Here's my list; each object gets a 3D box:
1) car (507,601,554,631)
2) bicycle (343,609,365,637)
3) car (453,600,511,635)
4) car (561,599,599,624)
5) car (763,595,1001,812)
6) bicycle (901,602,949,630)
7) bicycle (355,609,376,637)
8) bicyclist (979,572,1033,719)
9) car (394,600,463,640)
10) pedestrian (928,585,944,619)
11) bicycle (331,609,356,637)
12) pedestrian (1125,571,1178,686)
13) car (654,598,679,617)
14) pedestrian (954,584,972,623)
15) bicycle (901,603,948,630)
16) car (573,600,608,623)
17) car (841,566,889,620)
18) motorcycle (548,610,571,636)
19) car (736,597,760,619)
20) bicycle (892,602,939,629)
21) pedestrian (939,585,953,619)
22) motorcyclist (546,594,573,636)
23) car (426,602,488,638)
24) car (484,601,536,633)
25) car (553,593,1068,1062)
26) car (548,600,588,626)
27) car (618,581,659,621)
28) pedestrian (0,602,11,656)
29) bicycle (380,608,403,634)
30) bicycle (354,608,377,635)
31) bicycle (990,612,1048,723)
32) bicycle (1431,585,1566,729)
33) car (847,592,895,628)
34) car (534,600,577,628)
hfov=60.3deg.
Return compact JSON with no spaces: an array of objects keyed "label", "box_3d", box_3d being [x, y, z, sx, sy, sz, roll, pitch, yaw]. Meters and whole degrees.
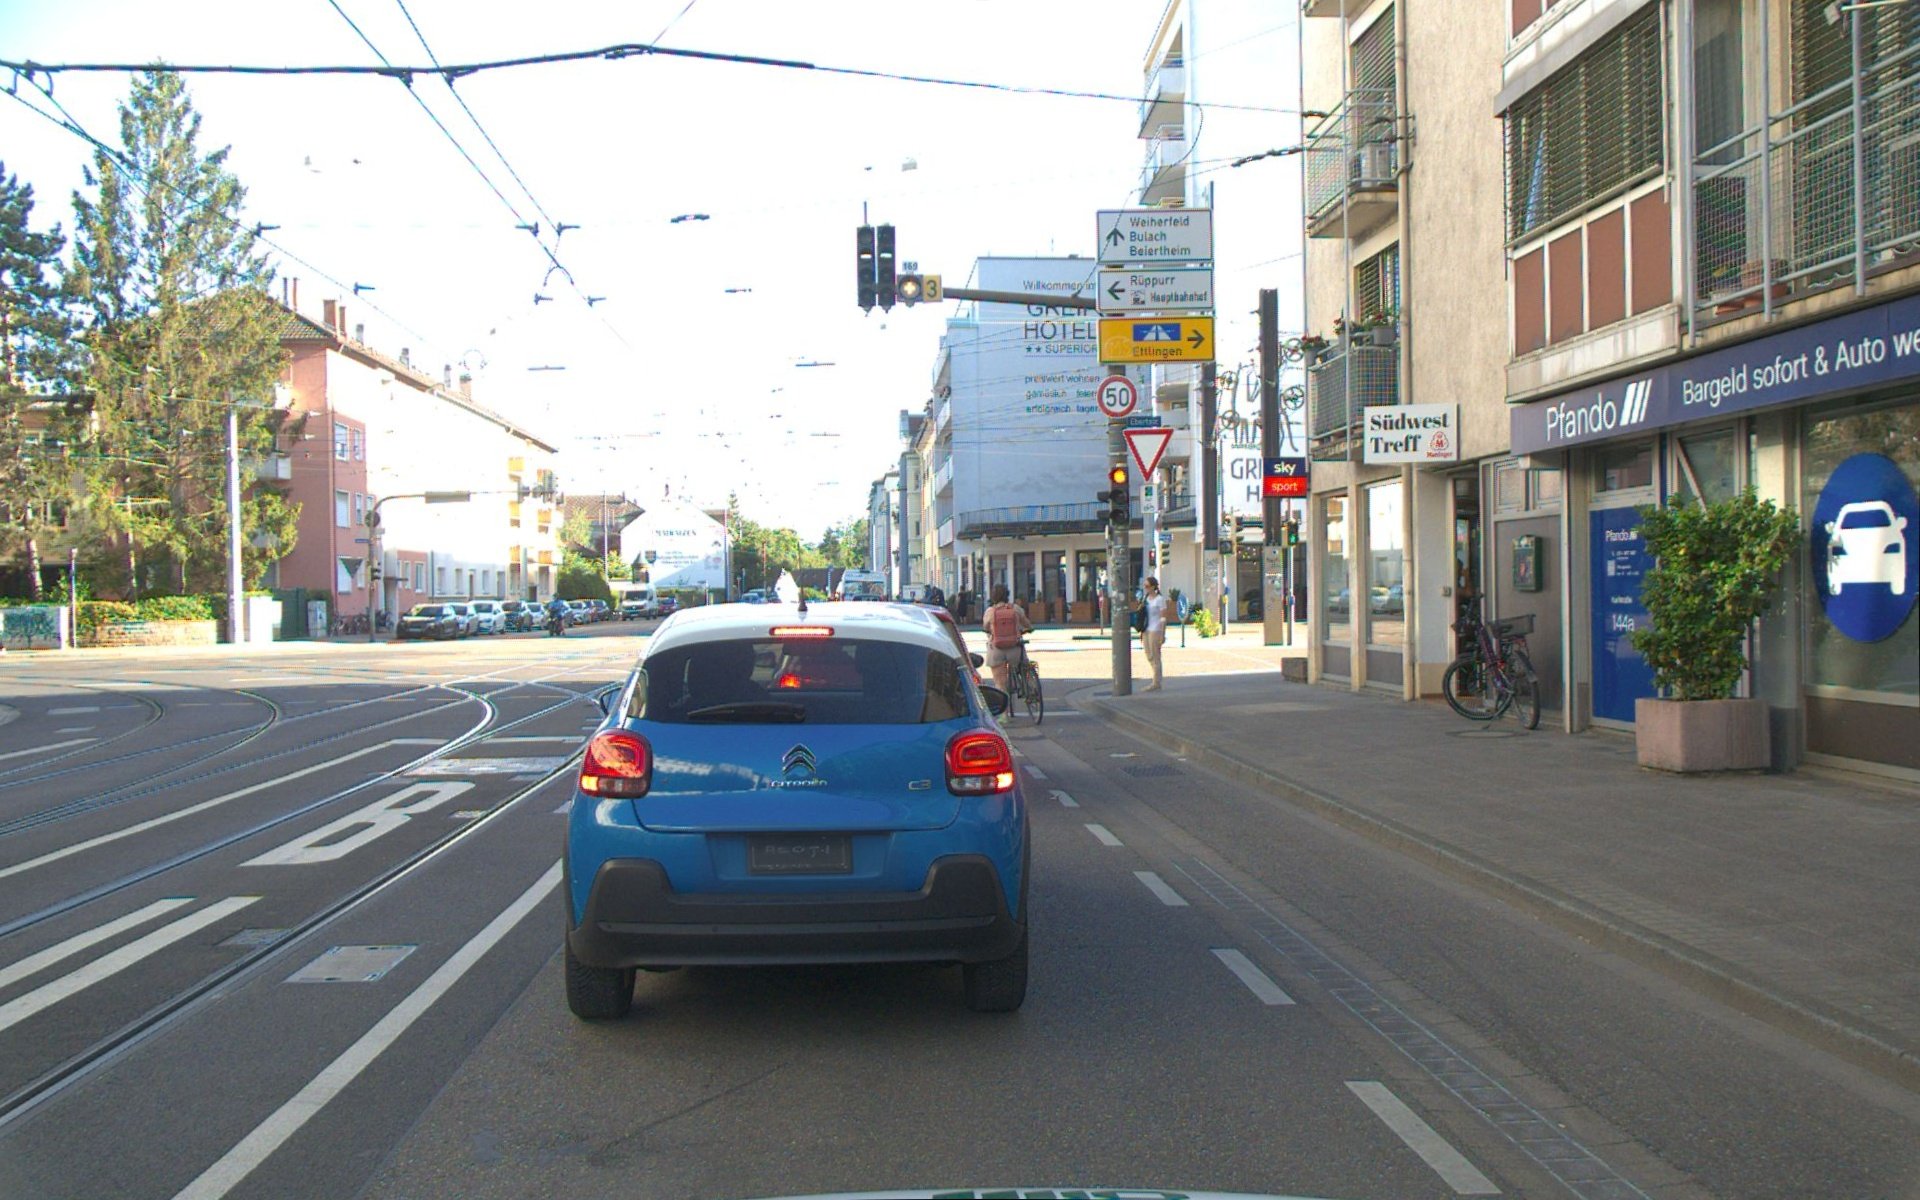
[{"label":"car","box_3d":[-23.760,0.854,91.573,1.913,1.545,3.995,-1,0,-6]},{"label":"bicycle","box_3d":[-24.587,0.926,67.121,0.527,1.101,1.905,-1,0,-11]},{"label":"car","box_3d":[-22.754,0.818,78.866,1.913,1.545,3.995,-1,0,-6]},{"label":"car","box_3d":[-24.845,0.748,108.268,1.913,1.545,3.995,-1,0,-6]},{"label":"car","box_3d":[-0.683,0.725,13.561,1.647,1.488,3.997,1,0,-4]},{"label":"bicycle","box_3d":[-1.392,0.639,65.782,1.868,1.083,0.641,-1,0,-8]},{"label":"bicycle","box_3d":[-24.229,0.933,67.421,0.527,1.101,1.905,-1,0,-11]},{"label":"bicyclist","box_3d":[0.565,0.550,20.598,0.588,1.776,1.084,-1,0,-1]},{"label":"car","box_3d":[-22.013,0.789,68.655,1.913,1.545,3.995,-1,0,-6]},{"label":"pedestrian","box_3d":[-1.009,0.089,70.241,0.514,1.445,0.547,-1,0,19]},{"label":"bicycle","box_3d":[-24.981,0.916,66.996,0.628,1.101,1.905,-1,0,-11]},{"label":"pedestrian","box_3d":[2.823,0.411,24.410,0.735,1.663,0.740,-1,0,5]},{"label":"car","box_3d":[-25.566,0.644,144.171,1.913,1.545,3.995,-1,0,-6]},{"label":"pedestrian","box_3d":[0.114,0.145,70.274,0.549,1.676,0.531,-1,0,-38]},{"label":"bicycle","box_3d":[-1.445,0.664,67.087,1.868,1.083,0.641,-1,0,-8]},{"label":"car","box_3d":[-25.561,0.788,114.598,1.913,1.545,3.995,-1,0,-6]},{"label":"car","box_3d":[-4.229,-0.318,73.181,2.039,2.309,5.646,0,0,-4]},{"label":"motorcycle","box_3d":[-16.224,0.938,67.025,0.738,0.993,2.092,-1,0,-9]},{"label":"car","box_3d":[-21.800,0.810,170.497,2.293,2.074,5.044,-1,0,-6]},{"label":"bicycle","box_3d":[-1.859,0.642,68.273,1.868,1.083,0.641,-1,0,-8]},{"label":"pedestrian","box_3d":[-0.584,0.084,69.996,0.459,1.445,0.525,-1,0,-13]},{"label":"motorcyclist","box_3d":[-16.204,0.605,66.957,0.973,1.659,0.737,-1,0,-10]},{"label":"car","box_3d":[-22.552,0.874,74.260,1.913,1.545,4.040,-1,0,-6]},{"label":"car","box_3d":[-23.231,0.838,85.523,1.913,1.545,3.995,-1,0,-6]},{"label":"car","box_3d":[-0.617,0.729,7.353,1.647,1.488,3.997,1,0,-4]},{"label":"car","box_3d":[-24.404,0.807,102.995,1.913,1.545,3.995,-1,0,-6]},{"label":"car","box_3d":[-23.217,0.067,119.582,2.446,2.759,5.828,-1,0,-7]},{"label":"pedestrian","box_3d":[-30.883,0.933,52.939,0.798,1.732,0.602,-1,0,-25]},{"label":"bicycle","box_3d":[-25.670,0.938,74.697,0.597,1.101,1.908,-1,0,-7]},{"label":"bicycle","box_3d":[-25.872,0.925,71.992,0.527,1.101,1.908,-1,0,-7]},{"label":"bicycle","box_3d":[0.718,0.813,20.639,0.601,1.286,1.910,-1,0,-1]},{"label":"bicycle","box_3d":[5.109,0.504,15.821,0.627,1.286,1.910,-1,0,-1]},{"label":"car","box_3d":[-3.675,0.383,67.742,1.752,1.383,3.909,-1,0,-6]},{"label":"car","box_3d":[-23.930,0.821,97.997,1.913,1.545,3.995,-1,0,-6]}]
